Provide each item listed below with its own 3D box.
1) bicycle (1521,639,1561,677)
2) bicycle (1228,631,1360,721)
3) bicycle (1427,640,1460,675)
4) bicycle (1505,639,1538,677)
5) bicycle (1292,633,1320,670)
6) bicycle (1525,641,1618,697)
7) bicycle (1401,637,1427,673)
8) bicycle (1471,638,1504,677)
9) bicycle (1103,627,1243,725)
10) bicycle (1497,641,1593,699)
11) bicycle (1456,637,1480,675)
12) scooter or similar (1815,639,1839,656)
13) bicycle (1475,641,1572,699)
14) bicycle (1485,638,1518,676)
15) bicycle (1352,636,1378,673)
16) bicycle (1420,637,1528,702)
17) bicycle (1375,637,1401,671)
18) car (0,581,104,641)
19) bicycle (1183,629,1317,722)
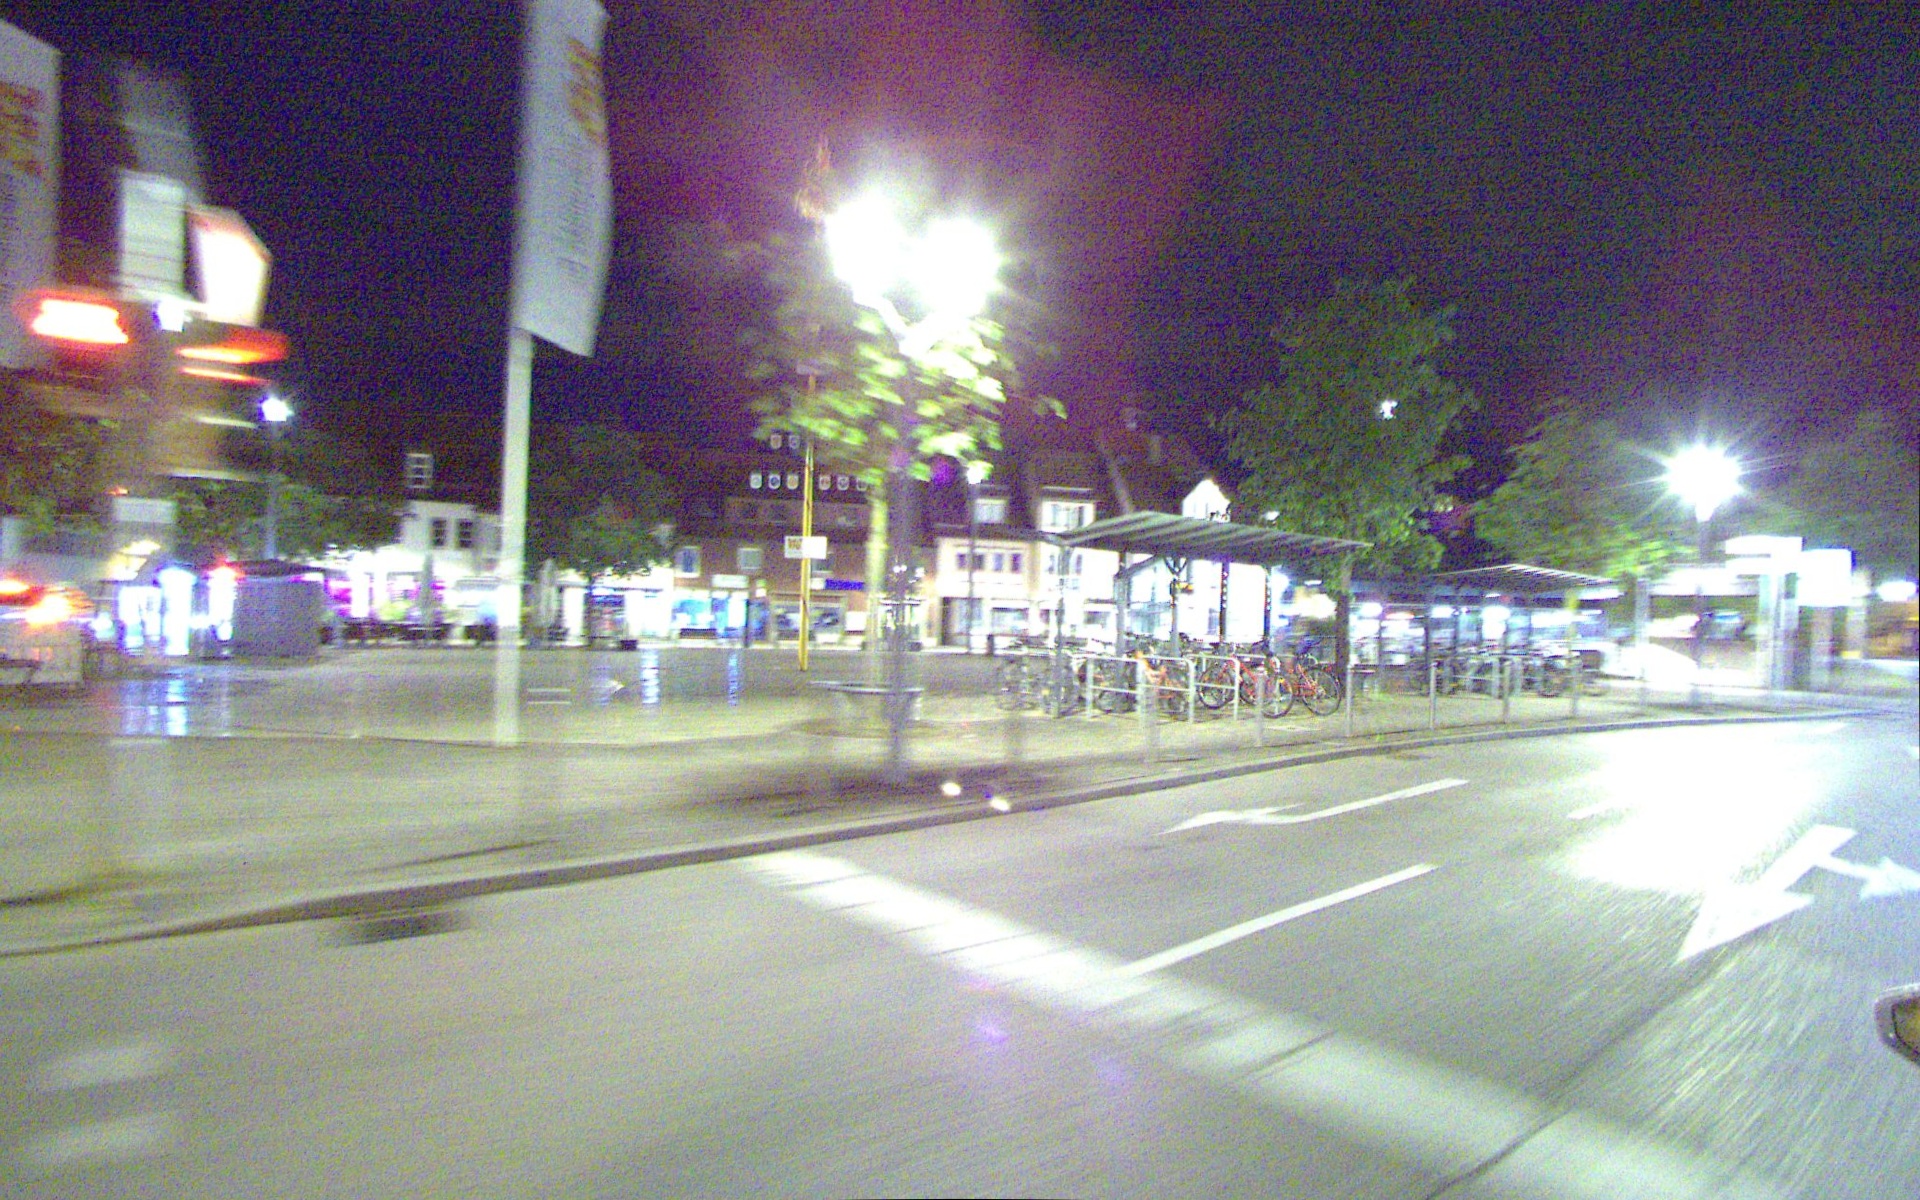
[{"bbox_3d":[19.090,1.885,33.027,0.746,1.177,1.748,0,-1,16],"label":"bicycle"},{"bbox_3d":[5.025,1.113,15.203,0.779,1.182,1.722,1,1,-36],"label":"bicycle"},{"bbox_3d":[16.140,1.903,33.543,0.596,1.084,1.748,0,-1,13],"label":"bicycle"},{"bbox_3d":[18.280,1.860,32.721,0.534,1.170,1.748,0,-1,16],"label":"bicycle"},{"bbox_3d":[12.116,1.796,35.115,0.598,1.235,1.743,0,-1,31],"label":"bicycle"},{"bbox_3d":[13.317,1.489,21.893,0.665,1.120,1.602,3,-2,-41],"label":"bicycle"},{"bbox_3d":[15.346,1.848,33.941,0.598,1.140,1.743,0,-1,31],"label":"bicycle"},{"bbox_3d":[17.126,1.856,32.628,0.597,1.181,1.748,0,-1,16],"label":"bicycle"},{"bbox_3d":[2.948,1.023,14.072,0.779,1.173,1.821,3,1,-36],"label":"bicycle"},{"bbox_3d":[12.345,1.458,21.222,0.665,1.120,1.602,3,-1,-41],"label":"bicycle"},{"bbox_3d":[17.164,1.871,33.905,0.598,1.181,1.743,0,-1,31],"label":"bicycle"},{"bbox_3d":[68.778,3.791,79.682,1.226,1.243,0.598,2,1,21],"label":"scooter or similar"},{"bbox_3d":[11.680,1.433,20.851,0.665,1.120,1.602,3,-2,-41],"label":"bicycle"},{"bbox_3d":[17.958,1.865,33.331,0.597,1.181,1.748,0,-1,16],"label":"bicycle"},{"bbox_3d":[13.884,1.854,34.408,0.598,1.181,1.743,0,-1,31],"label":"bicycle"},{"bbox_3d":[10.022,1.328,19.635,0.665,1.179,1.753,2,-1,-41],"label":"bicycle"},{"bbox_3d":[14.715,1.845,34.554,0.598,1.115,1.743,0,-1,31],"label":"bicycle"},{"bbox_3d":[-32.099,0.394,35.346,1.935,1.962,4.389,0,-1,-26],"label":"car"},{"bbox_3d":[4.224,1.080,14.718,0.779,1.173,1.722,3,1,-36],"label":"bicycle"}]
